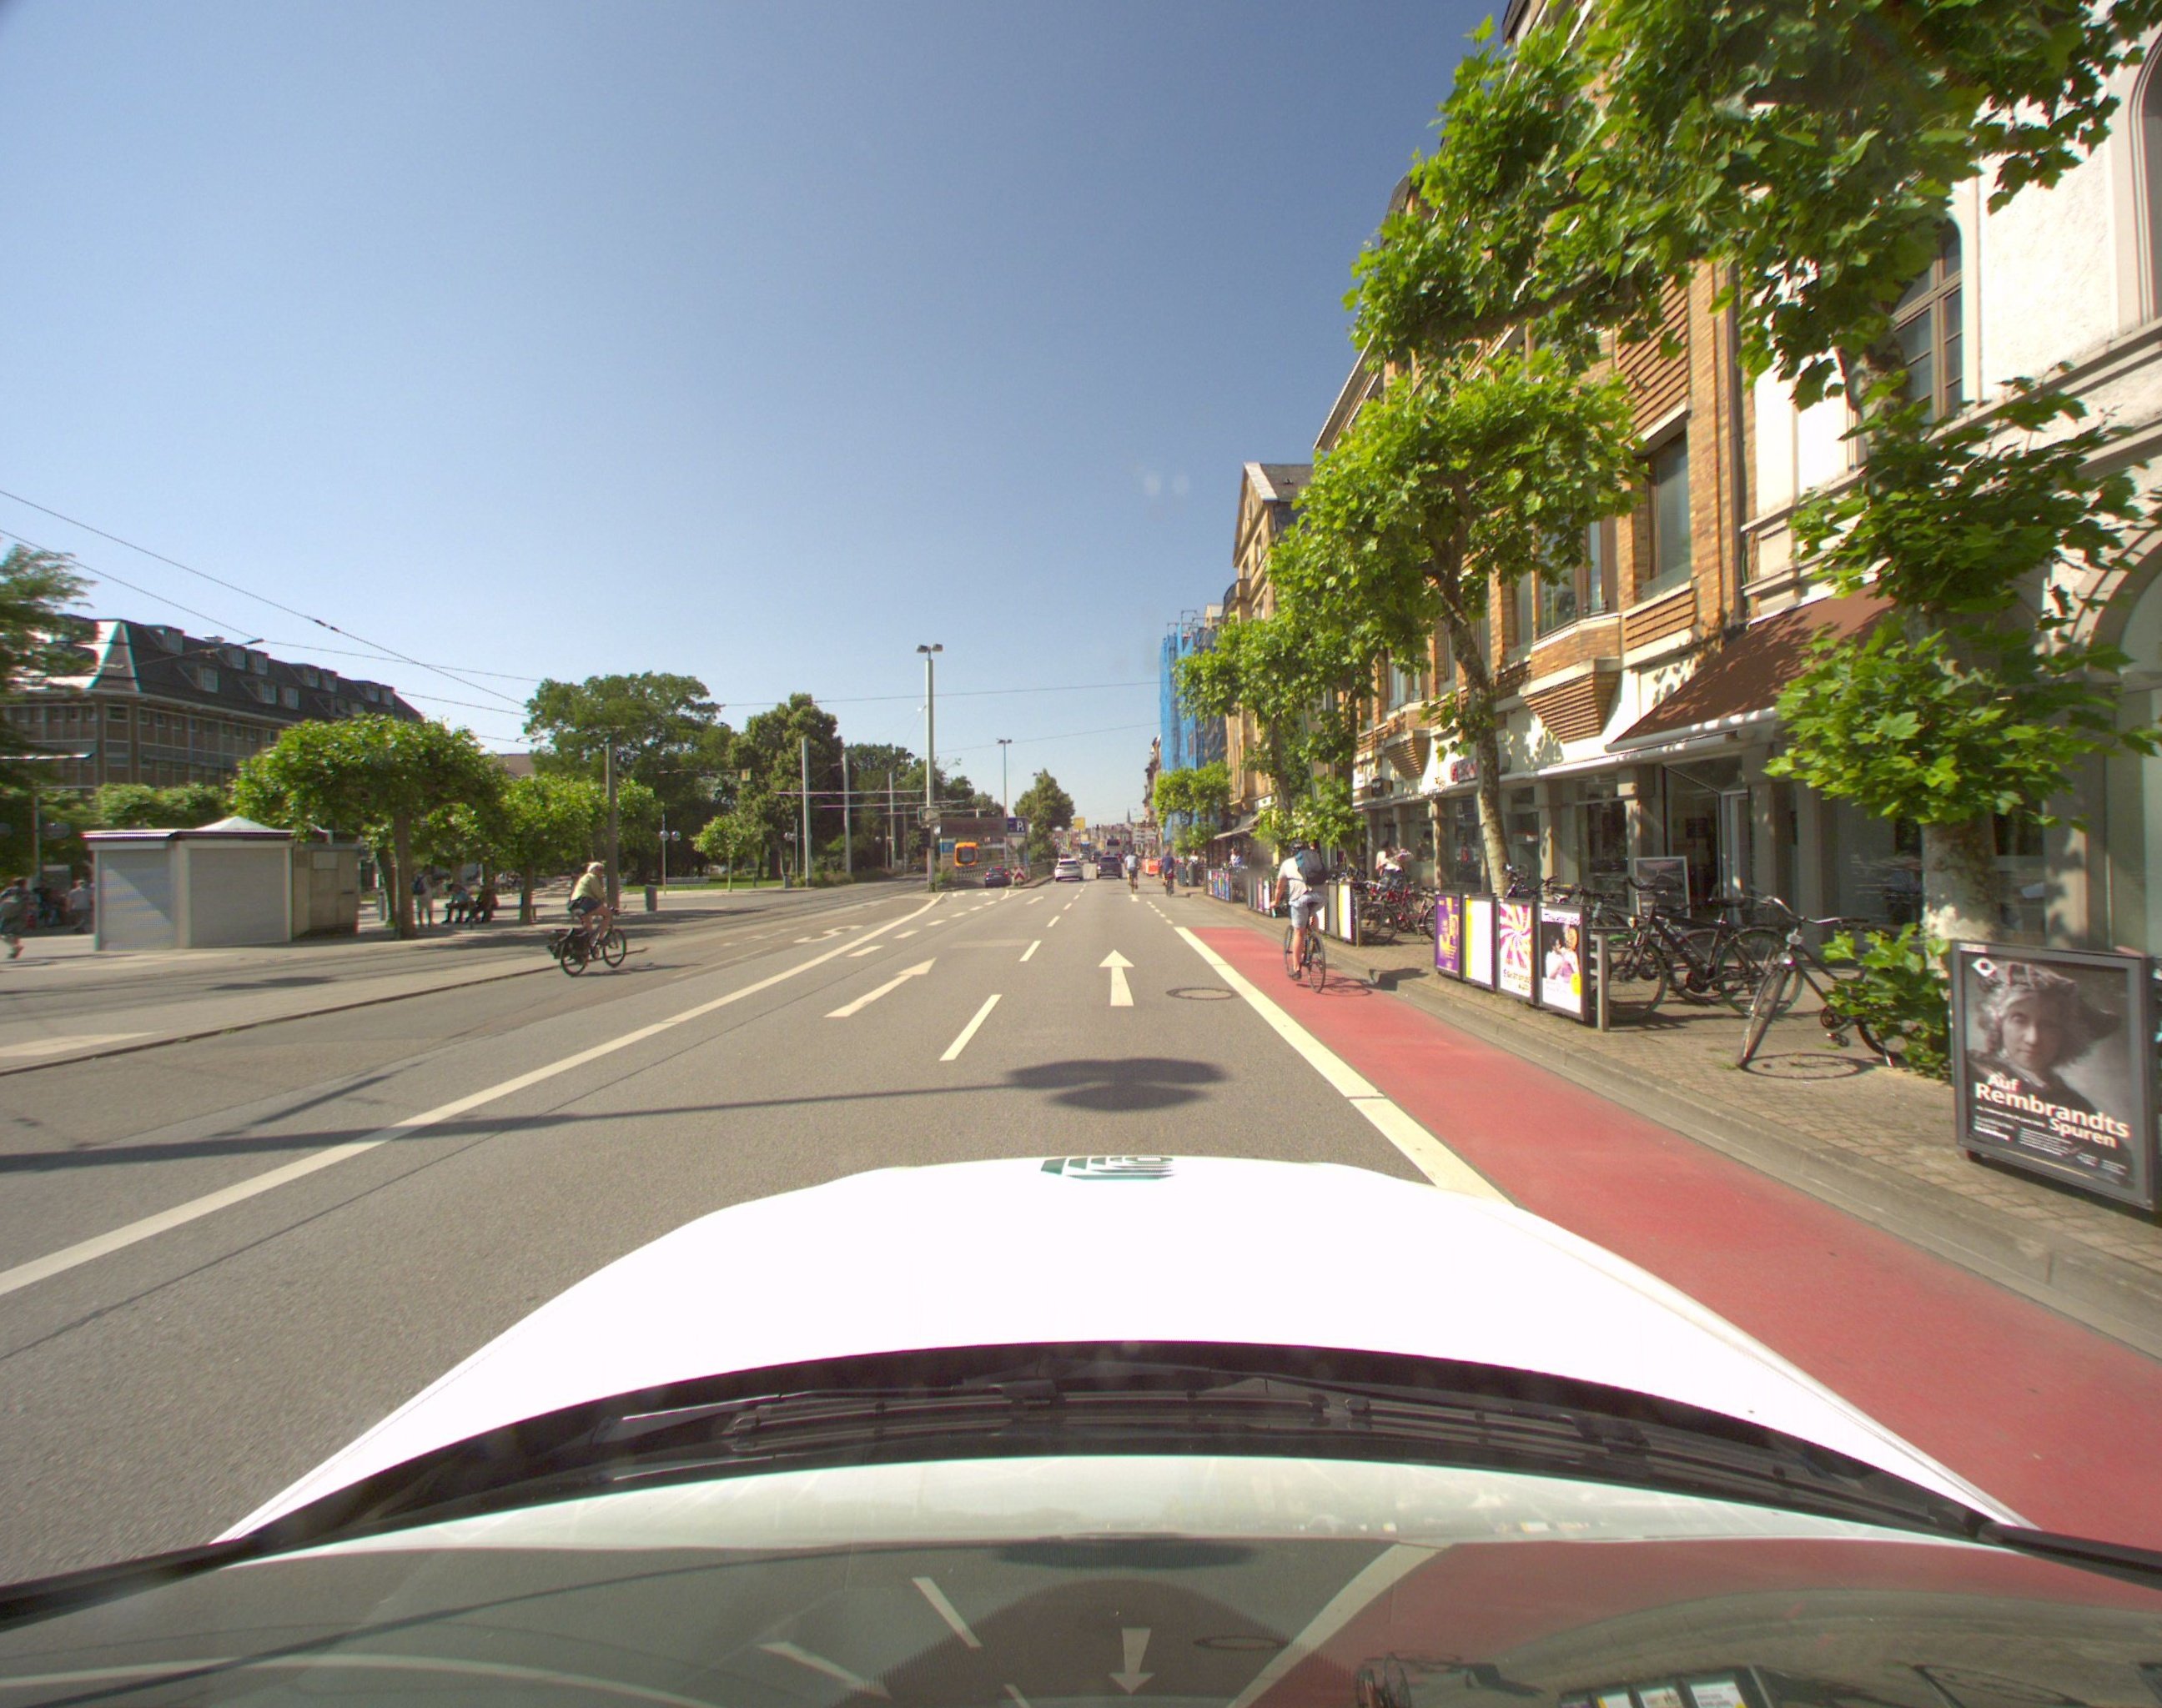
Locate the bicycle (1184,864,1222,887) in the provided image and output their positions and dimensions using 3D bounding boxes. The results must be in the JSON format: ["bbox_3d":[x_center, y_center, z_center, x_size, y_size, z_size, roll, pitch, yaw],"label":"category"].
[{"bbox_3d":[5.822,1.022,38.946,1.747,1.018,0.557,-1,-1,-1],"label":"bicycle"}]

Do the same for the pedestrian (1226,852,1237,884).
[{"bbox_3d":[8.039,0.739,43.497,0.377,1.683,0.479,-3,-1,24],"label":"pedestrian"}]

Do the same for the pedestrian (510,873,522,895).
[{"bbox_3d":[-40.752,2.158,58.764,0.413,1.609,0.493,-4,0,-8],"label":"pedestrian"}]

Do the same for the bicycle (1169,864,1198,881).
[{"bbox_3d":[6.451,1.144,51.281,1.747,1.018,0.482,-1,-1,-1],"label":"bicycle"}]

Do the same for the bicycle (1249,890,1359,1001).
[{"bbox_3d":[2.602,1.020,9.751,0.731,1.093,2.130,1,0,0],"label":"bicycle"}]

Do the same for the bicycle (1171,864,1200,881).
[{"bbox_3d":[6.449,1.130,50.290,1.750,1.018,0.482,-1,-1,-6],"label":"bicycle"}]

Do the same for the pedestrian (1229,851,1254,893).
[{"bbox_3d":[6.355,0.696,32.328,0.696,1.626,0.699,-2,-1,-12],"label":"pedestrian"}]

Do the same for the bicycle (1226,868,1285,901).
[{"bbox_3d":[5.518,0.965,25.783,1.747,1.018,0.482,-1,-1,-1],"label":"bicycle"}]

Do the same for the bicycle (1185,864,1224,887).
[{"bbox_3d":[5.808,1.007,38.305,1.747,1.018,0.587,-2,-1,-1],"label":"bicycle"}]

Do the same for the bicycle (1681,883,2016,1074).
[{"bbox_3d":[4.993,0.788,5.350,1.747,1.147,0.482,-1,-1,-1],"label":"bicycle"}]

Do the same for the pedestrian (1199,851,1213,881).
[{"bbox_3d":[8.157,0.772,52.939,0.809,1.848,0.893,-3,-1,9],"label":"pedestrian"}]

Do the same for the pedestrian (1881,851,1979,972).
[{"bbox_3d":[9.272,0.601,8.917,0.719,1.252,0.595,0,-1,45],"label":"pedestrian"}]

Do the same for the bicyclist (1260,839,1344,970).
[{"bbox_3d":[2.613,0.573,9.737,0.686,1.463,1.143,1,-1,0],"label":"bicyclist"}]

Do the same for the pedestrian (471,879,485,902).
[{"bbox_3d":[-43.674,2.659,59.014,0.492,1.609,0.619,-4,0,-8],"label":"pedestrian"}]

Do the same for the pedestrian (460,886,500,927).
[{"bbox_3d":[-19.416,1.680,26.329,0.674,1.246,0.751,-4,0,-5],"label":"pedestrian"}]

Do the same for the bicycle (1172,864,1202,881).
[{"bbox_3d":[6.407,1.135,49.356,1.747,1.018,0.482,-1,-1,-1],"label":"bicycle"}]

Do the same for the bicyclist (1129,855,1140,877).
[{"bbox_3d":[3.815,0.837,58.272,0.686,1.577,1.049,1,-1,0],"label":"bicyclist"}]

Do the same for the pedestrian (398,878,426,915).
[{"bbox_3d":[-32.813,2.083,39.947,0.674,1.706,0.705,-3,0,0],"label":"pedestrian"}]

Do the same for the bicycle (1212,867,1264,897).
[{"bbox_3d":[5.568,0.994,28.886,1.747,1.018,0.482,-1,-1,-1],"label":"bicycle"}]

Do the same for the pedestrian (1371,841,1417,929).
[{"bbox_3d":[5.977,0.575,15.595,0.649,1.633,0.731,1,-1,5],"label":"pedestrian"}]

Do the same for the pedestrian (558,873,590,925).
[{"bbox_3d":[-16.385,1.458,26.328,0.521,1.609,0.628,-4,0,10],"label":"pedestrian"}]

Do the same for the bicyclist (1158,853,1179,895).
[{"bbox_3d":[3.385,0.762,31.614,0.686,1.616,0.918,1,-1,0],"label":"bicyclist"}]

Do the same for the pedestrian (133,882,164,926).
[{"bbox_3d":[-38.390,2.037,33.545,0.546,1.748,0.628,-3,0,-21],"label":"pedestrian"}]

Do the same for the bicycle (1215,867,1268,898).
[{"bbox_3d":[5.577,0.983,28.329,1.747,1.018,0.482,-1,-1,-1],"label":"bicycle"}]

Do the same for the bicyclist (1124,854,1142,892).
[{"bbox_3d":[2.203,0.786,34.699,0.686,1.577,1.049,1,-1,0],"label":"bicyclist"}]

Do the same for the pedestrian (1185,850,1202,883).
[{"bbox_3d":[5.913,0.660,42.870,0.658,1.683,0.650,-1,-2,-16],"label":"pedestrian"}]

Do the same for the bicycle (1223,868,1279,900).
[{"bbox_3d":[5.520,0.977,26.479,1.712,0.985,0.482,-1,-1,-1],"label":"bicycle"}]

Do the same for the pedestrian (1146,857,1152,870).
[{"bbox_3d":[8.667,1.177,104.355,0.652,1.620,0.815,-2,0,0],"label":"pedestrian"}]

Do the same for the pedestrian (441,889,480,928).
[{"bbox_3d":[-20.513,1.794,26.937,0.674,1.171,0.751,-4,0,-5],"label":"pedestrian"}]

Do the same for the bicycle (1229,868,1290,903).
[{"bbox_3d":[5.477,0.962,25.004,1.747,1.018,0.482,-1,-1,-1],"label":"bicycle"}]

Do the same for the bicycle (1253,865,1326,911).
[{"bbox_3d":[5.376,0.875,21.076,1.747,1.147,0.482,-1,-1,-1],"label":"bicycle"}]

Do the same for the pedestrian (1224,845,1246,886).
[{"bbox_3d":[6.233,0.475,32.990,0.599,1.626,0.641,-4,0,-13],"label":"pedestrian"}]

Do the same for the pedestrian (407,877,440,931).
[{"bbox_3d":[-20.159,1.516,24.982,0.577,1.609,0.598,-4,0,-28],"label":"pedestrian"}]

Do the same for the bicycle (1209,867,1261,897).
[{"bbox_3d":[5.558,1.011,29.439,1.747,1.018,0.482,-1,-1,-1],"label":"bicycle"}]

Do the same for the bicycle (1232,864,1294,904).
[{"bbox_3d":[5.449,0.904,24.468,1.747,1.147,0.482,-1,-1,-1],"label":"bicycle"}]

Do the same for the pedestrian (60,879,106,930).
[{"bbox_3d":[-30.344,1.524,24.778,0.683,1.465,0.618,-4,0,-35],"label":"pedestrian"}]

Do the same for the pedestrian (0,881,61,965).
[{"bbox_3d":[-22.951,1.488,17.598,0.753,1.728,0.833,-4,0,-22],"label":"pedestrian"}]

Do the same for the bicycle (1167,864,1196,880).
[{"bbox_3d":[6.397,1.146,51.814,1.747,1.018,0.482,-1,-1,-1],"label":"bicycle"}]

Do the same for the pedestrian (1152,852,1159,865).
[{"bbox_3d":[10.106,0.620,110.543,0.753,1.656,0.837,-5,-1,0],"label":"pedestrian"}]

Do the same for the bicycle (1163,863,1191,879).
[{"bbox_3d":[6.298,1.100,53.235,1.747,1.018,0.482,-1,-1,-1],"label":"bicycle"}]

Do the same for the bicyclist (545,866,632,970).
[{"bbox_3d":[-8.153,1.036,13.524,0.814,1.622,0.903,-2,0,1],"label":"bicyclist"}]

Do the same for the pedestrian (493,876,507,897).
[{"bbox_3d":[-42.658,2.373,59.793,0.524,1.493,0.660,-4,0,-7],"label":"pedestrian"}]

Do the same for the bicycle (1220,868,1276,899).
[{"bbox_3d":[5.576,0.980,27.242,1.747,1.018,0.482,-1,-1,-1],"label":"bicycle"}]

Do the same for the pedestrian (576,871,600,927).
[{"bbox_3d":[-15.759,1.418,26.023,0.528,1.733,0.582,-4,0,-29],"label":"pedestrian"}]

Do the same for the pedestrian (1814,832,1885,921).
[{"bbox_3d":[12.915,0.374,13.705,0.595,1.455,0.645,1,-1,5],"label":"pedestrian"}]

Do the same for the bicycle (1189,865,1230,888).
[{"bbox_3d":[5.857,1.006,37.120,1.747,1.018,0.482,-1,-1,-1],"label":"bicycle"}]

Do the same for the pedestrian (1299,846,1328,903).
[{"bbox_3d":[7.458,0.641,26.171,0.664,1.781,0.986,-2,-1,6],"label":"pedestrian"}]

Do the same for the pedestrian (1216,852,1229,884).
[{"bbox_3d":[7.555,0.728,43.393,0.493,1.683,0.540,-3,-1,22],"label":"pedestrian"}]

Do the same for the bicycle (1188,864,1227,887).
[{"bbox_3d":[5.849,1.008,37.681,1.747,1.018,0.482,-1,-1,-1],"label":"bicycle"}]
